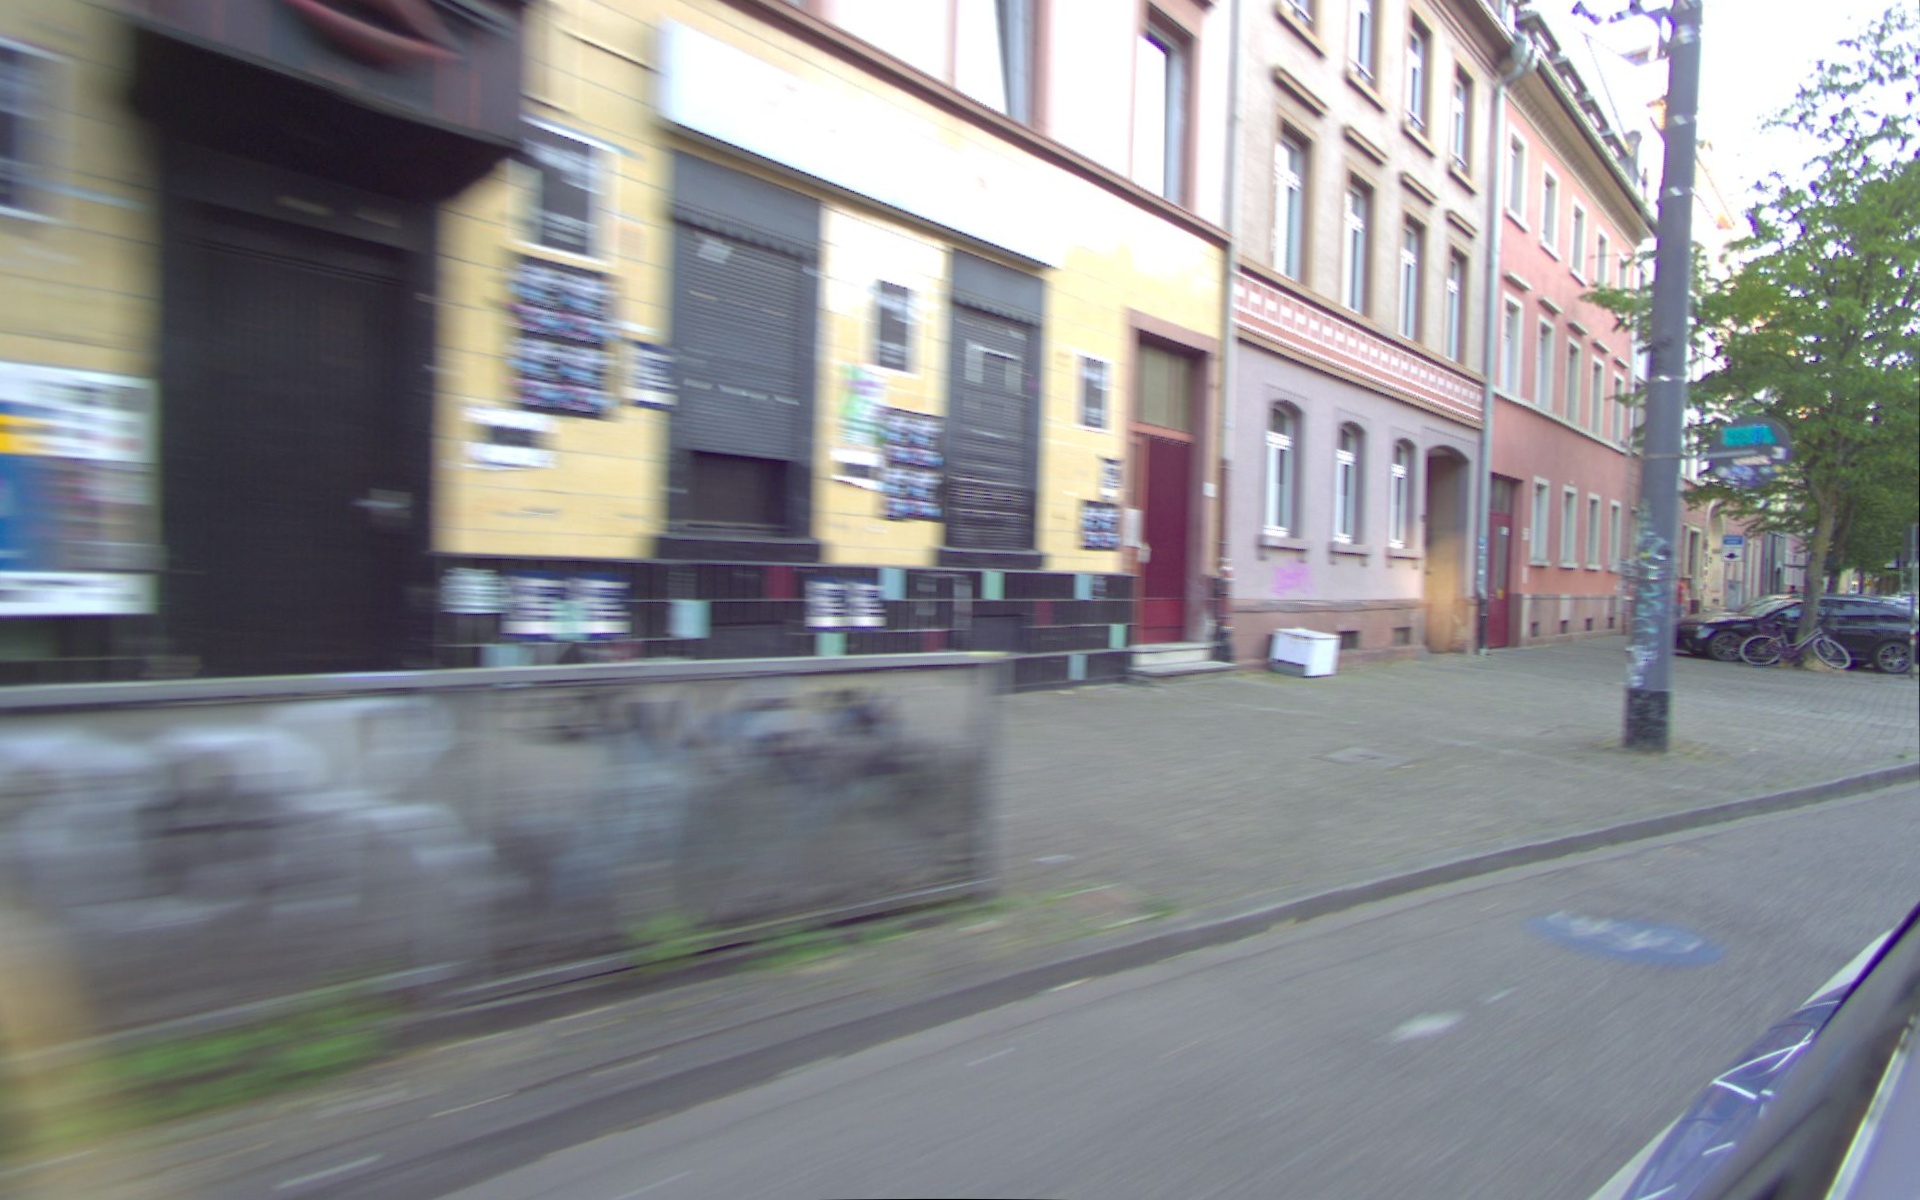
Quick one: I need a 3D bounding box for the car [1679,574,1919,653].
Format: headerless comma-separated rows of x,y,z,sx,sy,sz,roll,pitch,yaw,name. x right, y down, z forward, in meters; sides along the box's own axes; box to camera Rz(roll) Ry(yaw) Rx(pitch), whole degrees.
19.626,0.266,23.823,3.952,1.509,1.819,3,4,21,car

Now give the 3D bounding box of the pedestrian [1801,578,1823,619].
39.044,-0.090,46.377,0.590,1.838,0.681,0,2,-45,pedestrian

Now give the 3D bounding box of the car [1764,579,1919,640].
25.731,0.245,29.162,3.523,1.535,1.733,3,2,20,car

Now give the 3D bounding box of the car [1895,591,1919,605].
113.795,-0.222,119.464,4.577,1.536,1.800,3,2,19,car

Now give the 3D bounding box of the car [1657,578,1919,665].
17.635,0.408,21.251,4.564,1.475,1.699,4,3,21,car

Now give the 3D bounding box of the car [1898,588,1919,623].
40.456,0.250,42.354,1.620,1.397,3.716,5,4,44,car

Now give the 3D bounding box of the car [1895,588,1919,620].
44.335,0.195,46.433,4.613,1.397,1.783,0,4,-44,car

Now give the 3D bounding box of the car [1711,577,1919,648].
22.106,0.286,25.686,4.407,1.535,2.049,3,2,22,car

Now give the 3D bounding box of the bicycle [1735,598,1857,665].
16.098,0.568,19.505,1.691,1.115,0.913,5,4,44,bicycle
